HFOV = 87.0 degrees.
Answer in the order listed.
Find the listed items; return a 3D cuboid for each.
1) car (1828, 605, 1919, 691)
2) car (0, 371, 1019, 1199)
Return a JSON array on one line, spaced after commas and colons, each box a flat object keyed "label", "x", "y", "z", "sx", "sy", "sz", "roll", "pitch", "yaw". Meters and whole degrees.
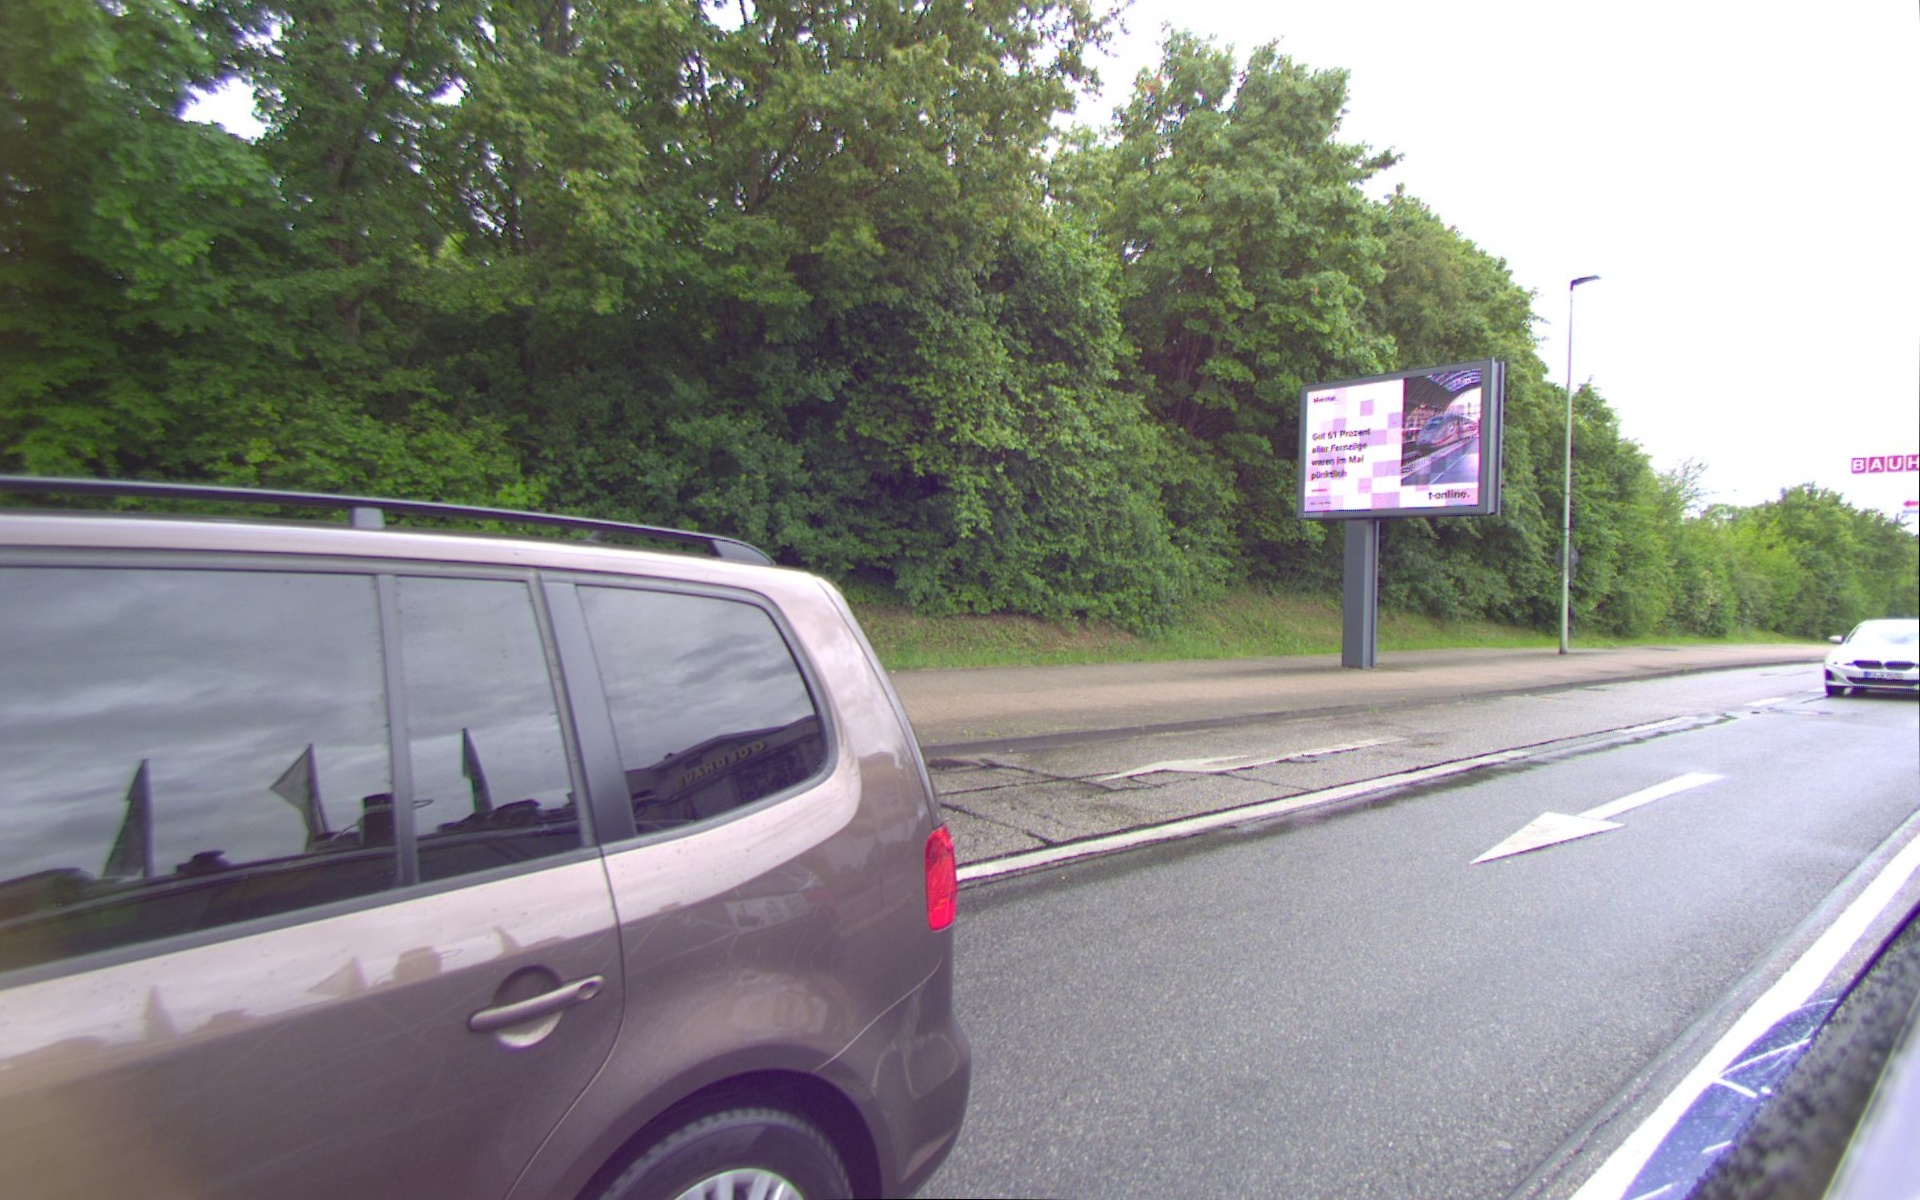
[{"label": "car", "x": 18.369, "y": 0.911, "z": 19.302, "sx": 3.924, "sy": 1.500, "sz": 1.865, "roll": 2, "pitch": 0, "yaw": -36}, {"label": "car", "x": -1.969, "y": 0.538, "z": 1.422, "sx": 4.058, "sy": 1.617, "sz": 1.716, "roll": 2, "pitch": 0, "yaw": -42}]
